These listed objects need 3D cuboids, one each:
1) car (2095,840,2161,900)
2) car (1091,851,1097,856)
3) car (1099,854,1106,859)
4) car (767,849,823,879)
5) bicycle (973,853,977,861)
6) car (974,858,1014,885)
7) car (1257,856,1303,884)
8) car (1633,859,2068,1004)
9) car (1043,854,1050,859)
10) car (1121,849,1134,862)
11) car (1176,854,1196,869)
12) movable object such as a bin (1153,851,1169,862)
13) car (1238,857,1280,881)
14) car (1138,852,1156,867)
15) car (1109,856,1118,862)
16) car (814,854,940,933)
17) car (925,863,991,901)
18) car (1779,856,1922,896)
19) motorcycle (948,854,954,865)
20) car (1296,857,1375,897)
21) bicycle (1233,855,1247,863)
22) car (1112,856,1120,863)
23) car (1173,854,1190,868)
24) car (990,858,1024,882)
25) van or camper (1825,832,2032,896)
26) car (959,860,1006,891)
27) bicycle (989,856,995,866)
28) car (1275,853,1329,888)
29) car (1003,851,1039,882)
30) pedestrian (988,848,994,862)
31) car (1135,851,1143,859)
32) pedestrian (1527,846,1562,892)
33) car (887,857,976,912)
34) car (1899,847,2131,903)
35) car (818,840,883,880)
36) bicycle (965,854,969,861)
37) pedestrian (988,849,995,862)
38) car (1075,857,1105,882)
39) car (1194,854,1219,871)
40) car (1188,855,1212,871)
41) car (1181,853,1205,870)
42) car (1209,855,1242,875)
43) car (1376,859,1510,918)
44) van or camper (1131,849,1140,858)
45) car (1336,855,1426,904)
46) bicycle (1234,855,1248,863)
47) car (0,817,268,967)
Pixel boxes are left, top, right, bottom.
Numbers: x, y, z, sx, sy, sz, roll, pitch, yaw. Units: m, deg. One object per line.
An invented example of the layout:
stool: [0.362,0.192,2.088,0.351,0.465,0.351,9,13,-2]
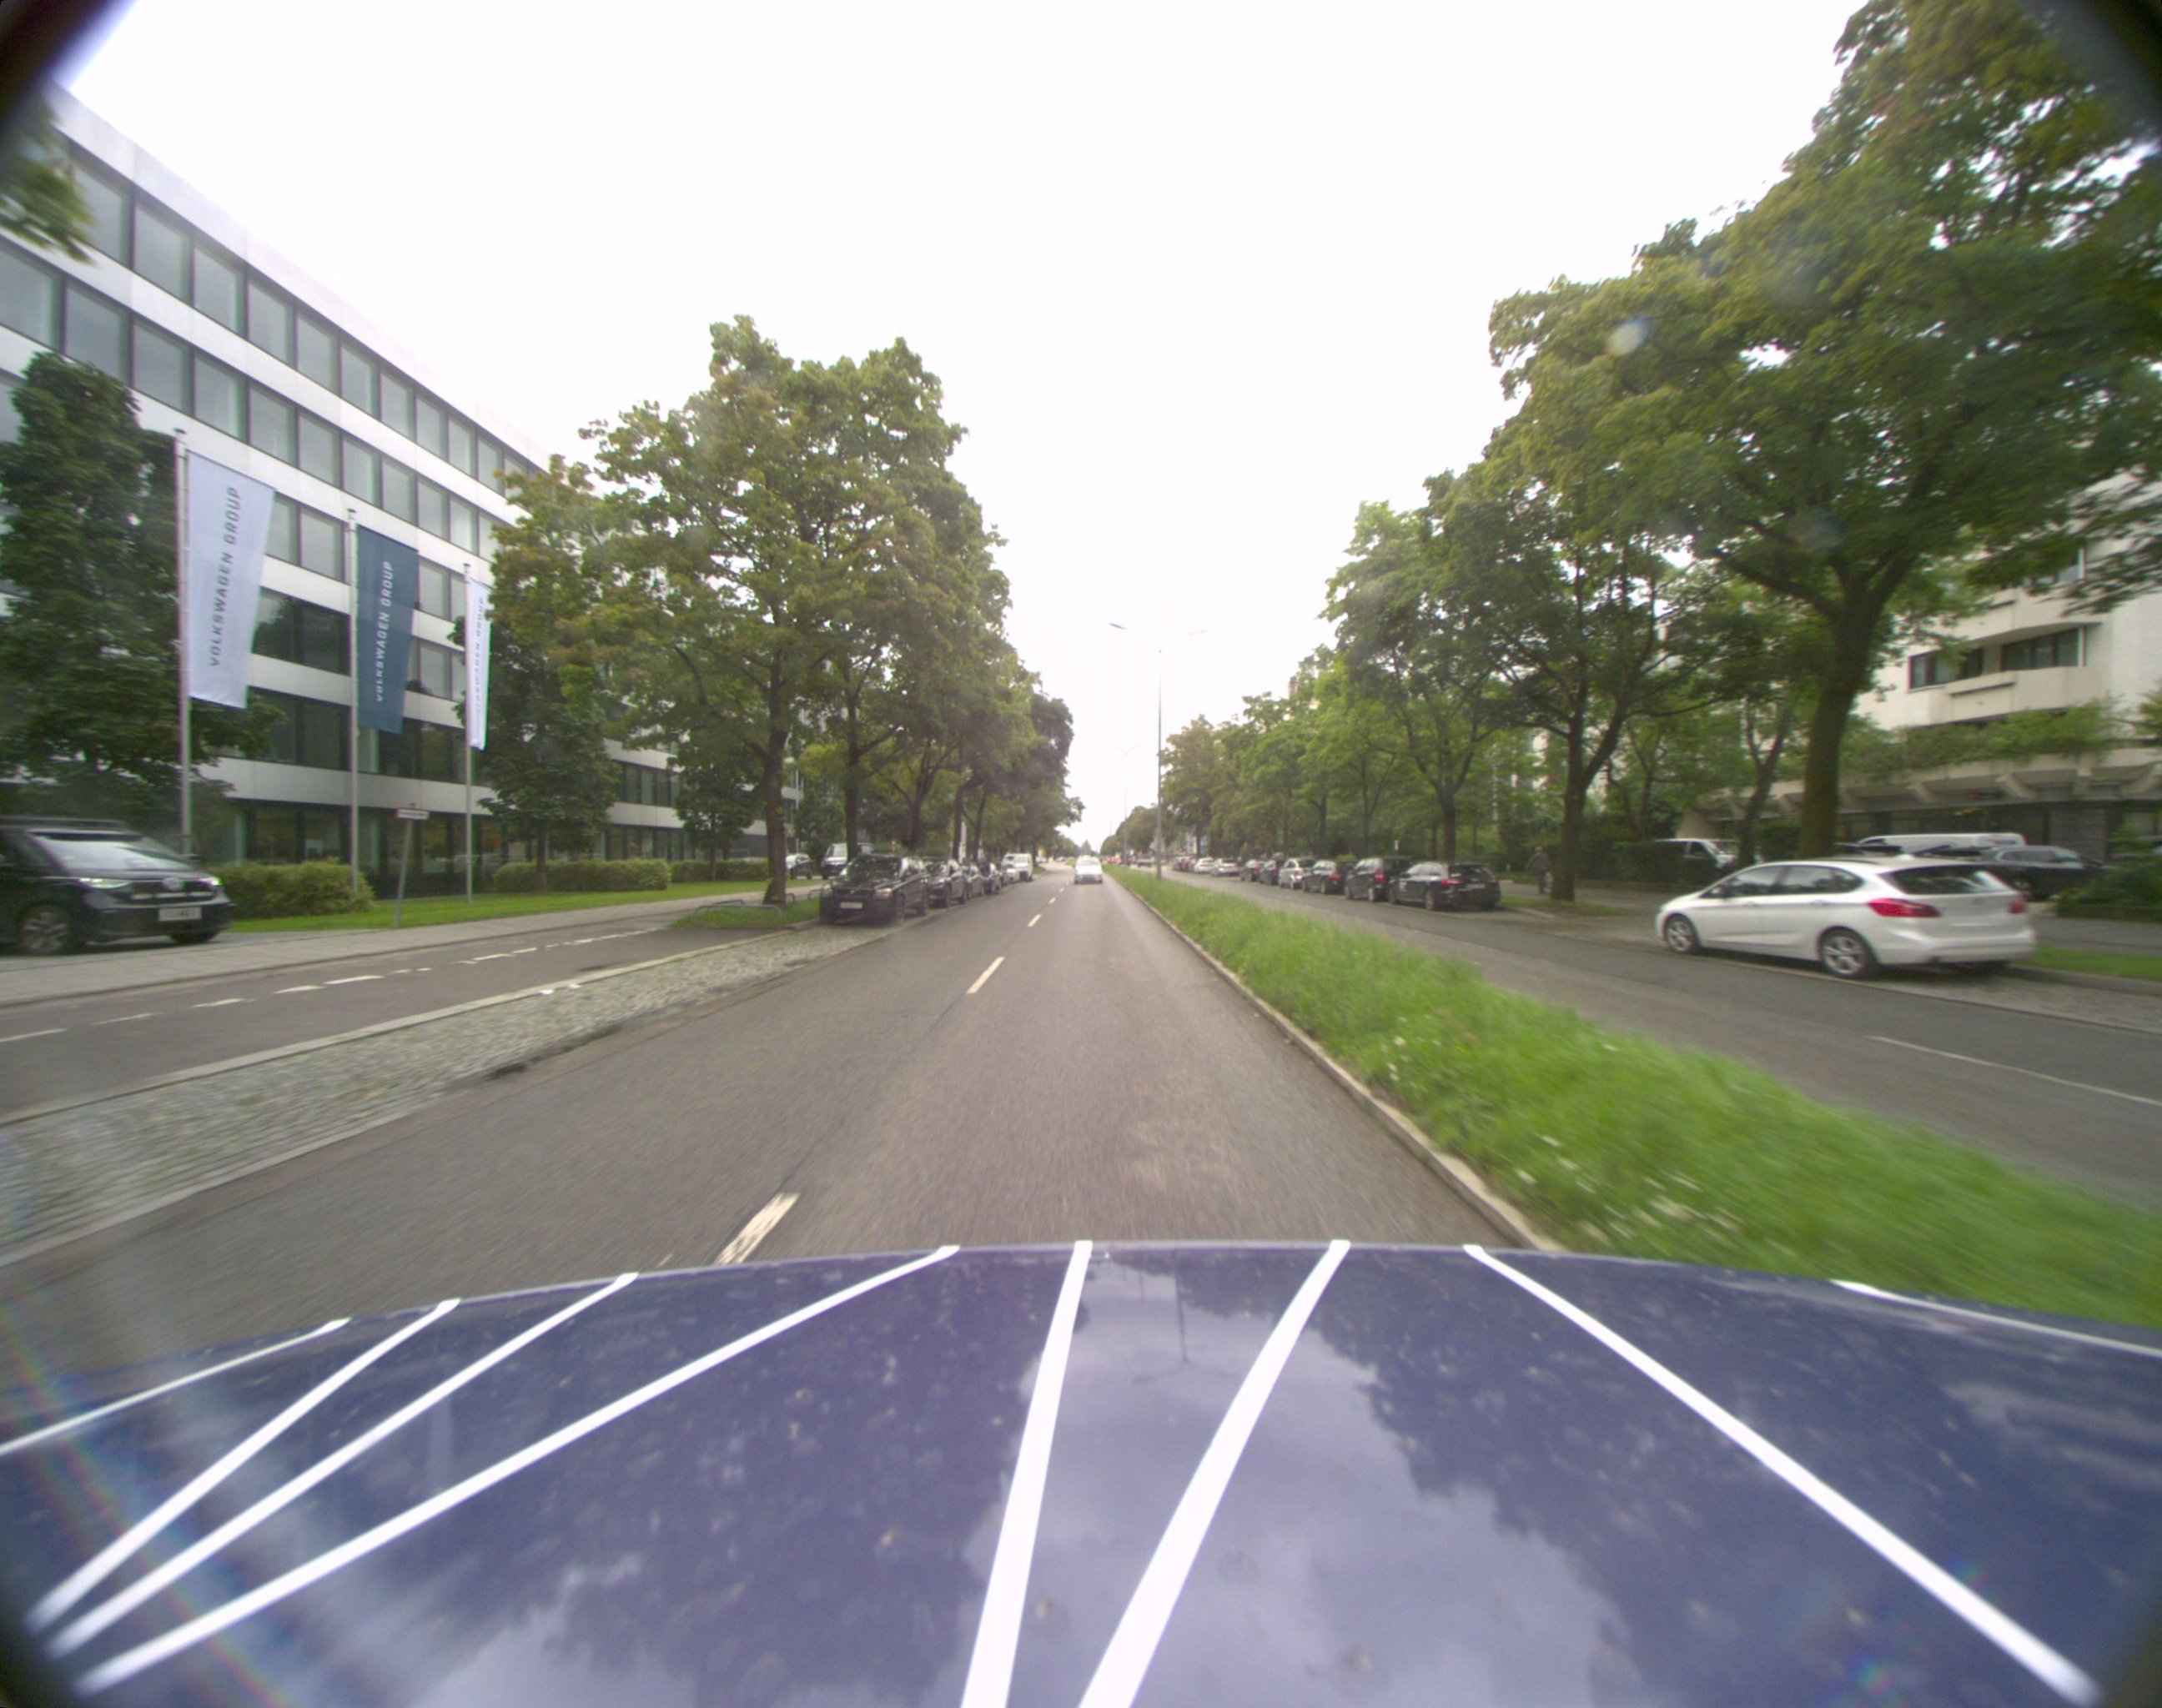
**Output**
car: [30.650,0.412,20.555,3.986,1.582,1.788,0,0,1]
car: [4.072,-0.084,239.109,1.787,1.397,4.101,0,0,-1]
car: [6.158,0.794,216.726,1.962,1.471,4.259,0,0,1]
car: [-17.719,0.593,47.224,1.847,1.807,4.471,0,0,-1]
bicycle: [-15.956,0.493,114.587,0.447,1.182,1.954,0,0,-2]
car: [-4.872,0.962,42.801,1.706,1.438,3.978,0,0,1]
car: [11.247,0.877,43.192,1.629,1.415,4.192,-3,0,2]
car: [10.594,0.917,11.092,1.761,1.585,4.489,-3,0,0]
car: [-10.121,0.649,223.184,1.590,1.495,3.735,0,0,1]
car: [7.456,0.285,121.838,1.785,2.017,4.818,0,0,0]
car: [12.031,0.820,87.566,1.743,1.634,4.684,-2,0,1]
movable object such as a bin: [14.439,0.424,137.161,2.199,1.941,3.998,0,0,-5]
car: [11.304,0.923,48.567,1.584,1.415,4.362,-3,0,0]
car: [10.084,0.779,116.690,2.214,2.181,5.799,0,0,0]
car: [8.208,1.260,190.948,1.920,1.475,4.864,0,0,0]
car: [-5.072,0.896,19.674,1.897,1.789,4.861,0,0,1]
car: [-4.945,1.081,31.112,1.705,1.400,4.513,0,0,4]
car: [24.395,0.660,24.238,1.459,1.192,3.127,0,0,2]
motorcycle: [-16.248,0.708,94.933,0.550,1.311,2.071,0,0,-14]
car: [11.046,0.929,33.370,1.720,1.515,5.034,-3,0,0]
bicycle: [20.492,0.628,97.803,1.766,1.001,0.436,0,0,1]
car: [7.937,1.173,172.666,1.770,1.615,4.376,0,0,1]
car: [12.255,0.811,93.043,1.651,1.604,3.819,-2,0,2]
car: [-4.686,0.986,48.564,1.706,1.389,4.233,0,0,1]
van or camper: [27.223,0.300,24.680,1.861,1.860,4.431,0,0,2]
car: [-4.825,1.025,37.602,1.706,1.413,4.121,0,0,1]
bicycle: [-12.234,0.960,104.443,0.531,1.219,1.863,2,-1,5]
car: [11.158,0.796,38.579,1.629,1.638,3.868,-3,0,2]
car: [-4.286,0.848,54.894,1.992,2.145,5.555,0,0,1]
pedestrian: [-12.150,0.178,102.450,0.652,1.888,0.750,0,0,16]
car: [14.520,0.142,190.515,1.801,1.986,4.546,0,0,1]
pedestrian: [16.764,0.540,27.493,0.851,1.646,0.608,0,1,-5]
car: [-4.893,0.934,25.587,1.817,1.666,4.800,0,0,3]
car: [25.023,0.547,20.462,3.987,1.409,1.862,0,0,-1]
car: [-14.332,0.352,47.753,2.271,2.293,6.267,0,0,-1]
bicycle: [-17.225,0.523,114.992,0.513,1.182,2.140,0,0,-10]
pedestrian: [-11.941,0.232,101.494,0.784,1.704,0.751,0,0,15]
car: [0.536,0.880,44.788,1.679,1.433,3.735,0,0,1]
car: [11.793,0.793,71.636,1.743,1.521,4.475,-2,0,1]
car: [11.935,0.857,76.611,1.743,1.474,4.334,-2,0,1]
car: [12.003,0.791,81.824,1.743,1.642,4.606,-2,0,-1]
car: [11.701,0.867,61.949,1.741,1.440,4.822,-3,0,0]
car: [10.817,0.948,23.165,1.764,1.504,4.948,-3,0,2]
van or camper: [14.766,-0.137,206.055,2.055,2.472,5.548,0,0,0]
car: [10.902,0.860,27.917,1.689,1.587,4.210,-3,0,2]
bicycle: [20.490,0.611,97.210,1.766,1.001,0.436,0,0,1]
car: [-16.309,0.537,11.595,5.484,2.071,2.147,0,0,0]
